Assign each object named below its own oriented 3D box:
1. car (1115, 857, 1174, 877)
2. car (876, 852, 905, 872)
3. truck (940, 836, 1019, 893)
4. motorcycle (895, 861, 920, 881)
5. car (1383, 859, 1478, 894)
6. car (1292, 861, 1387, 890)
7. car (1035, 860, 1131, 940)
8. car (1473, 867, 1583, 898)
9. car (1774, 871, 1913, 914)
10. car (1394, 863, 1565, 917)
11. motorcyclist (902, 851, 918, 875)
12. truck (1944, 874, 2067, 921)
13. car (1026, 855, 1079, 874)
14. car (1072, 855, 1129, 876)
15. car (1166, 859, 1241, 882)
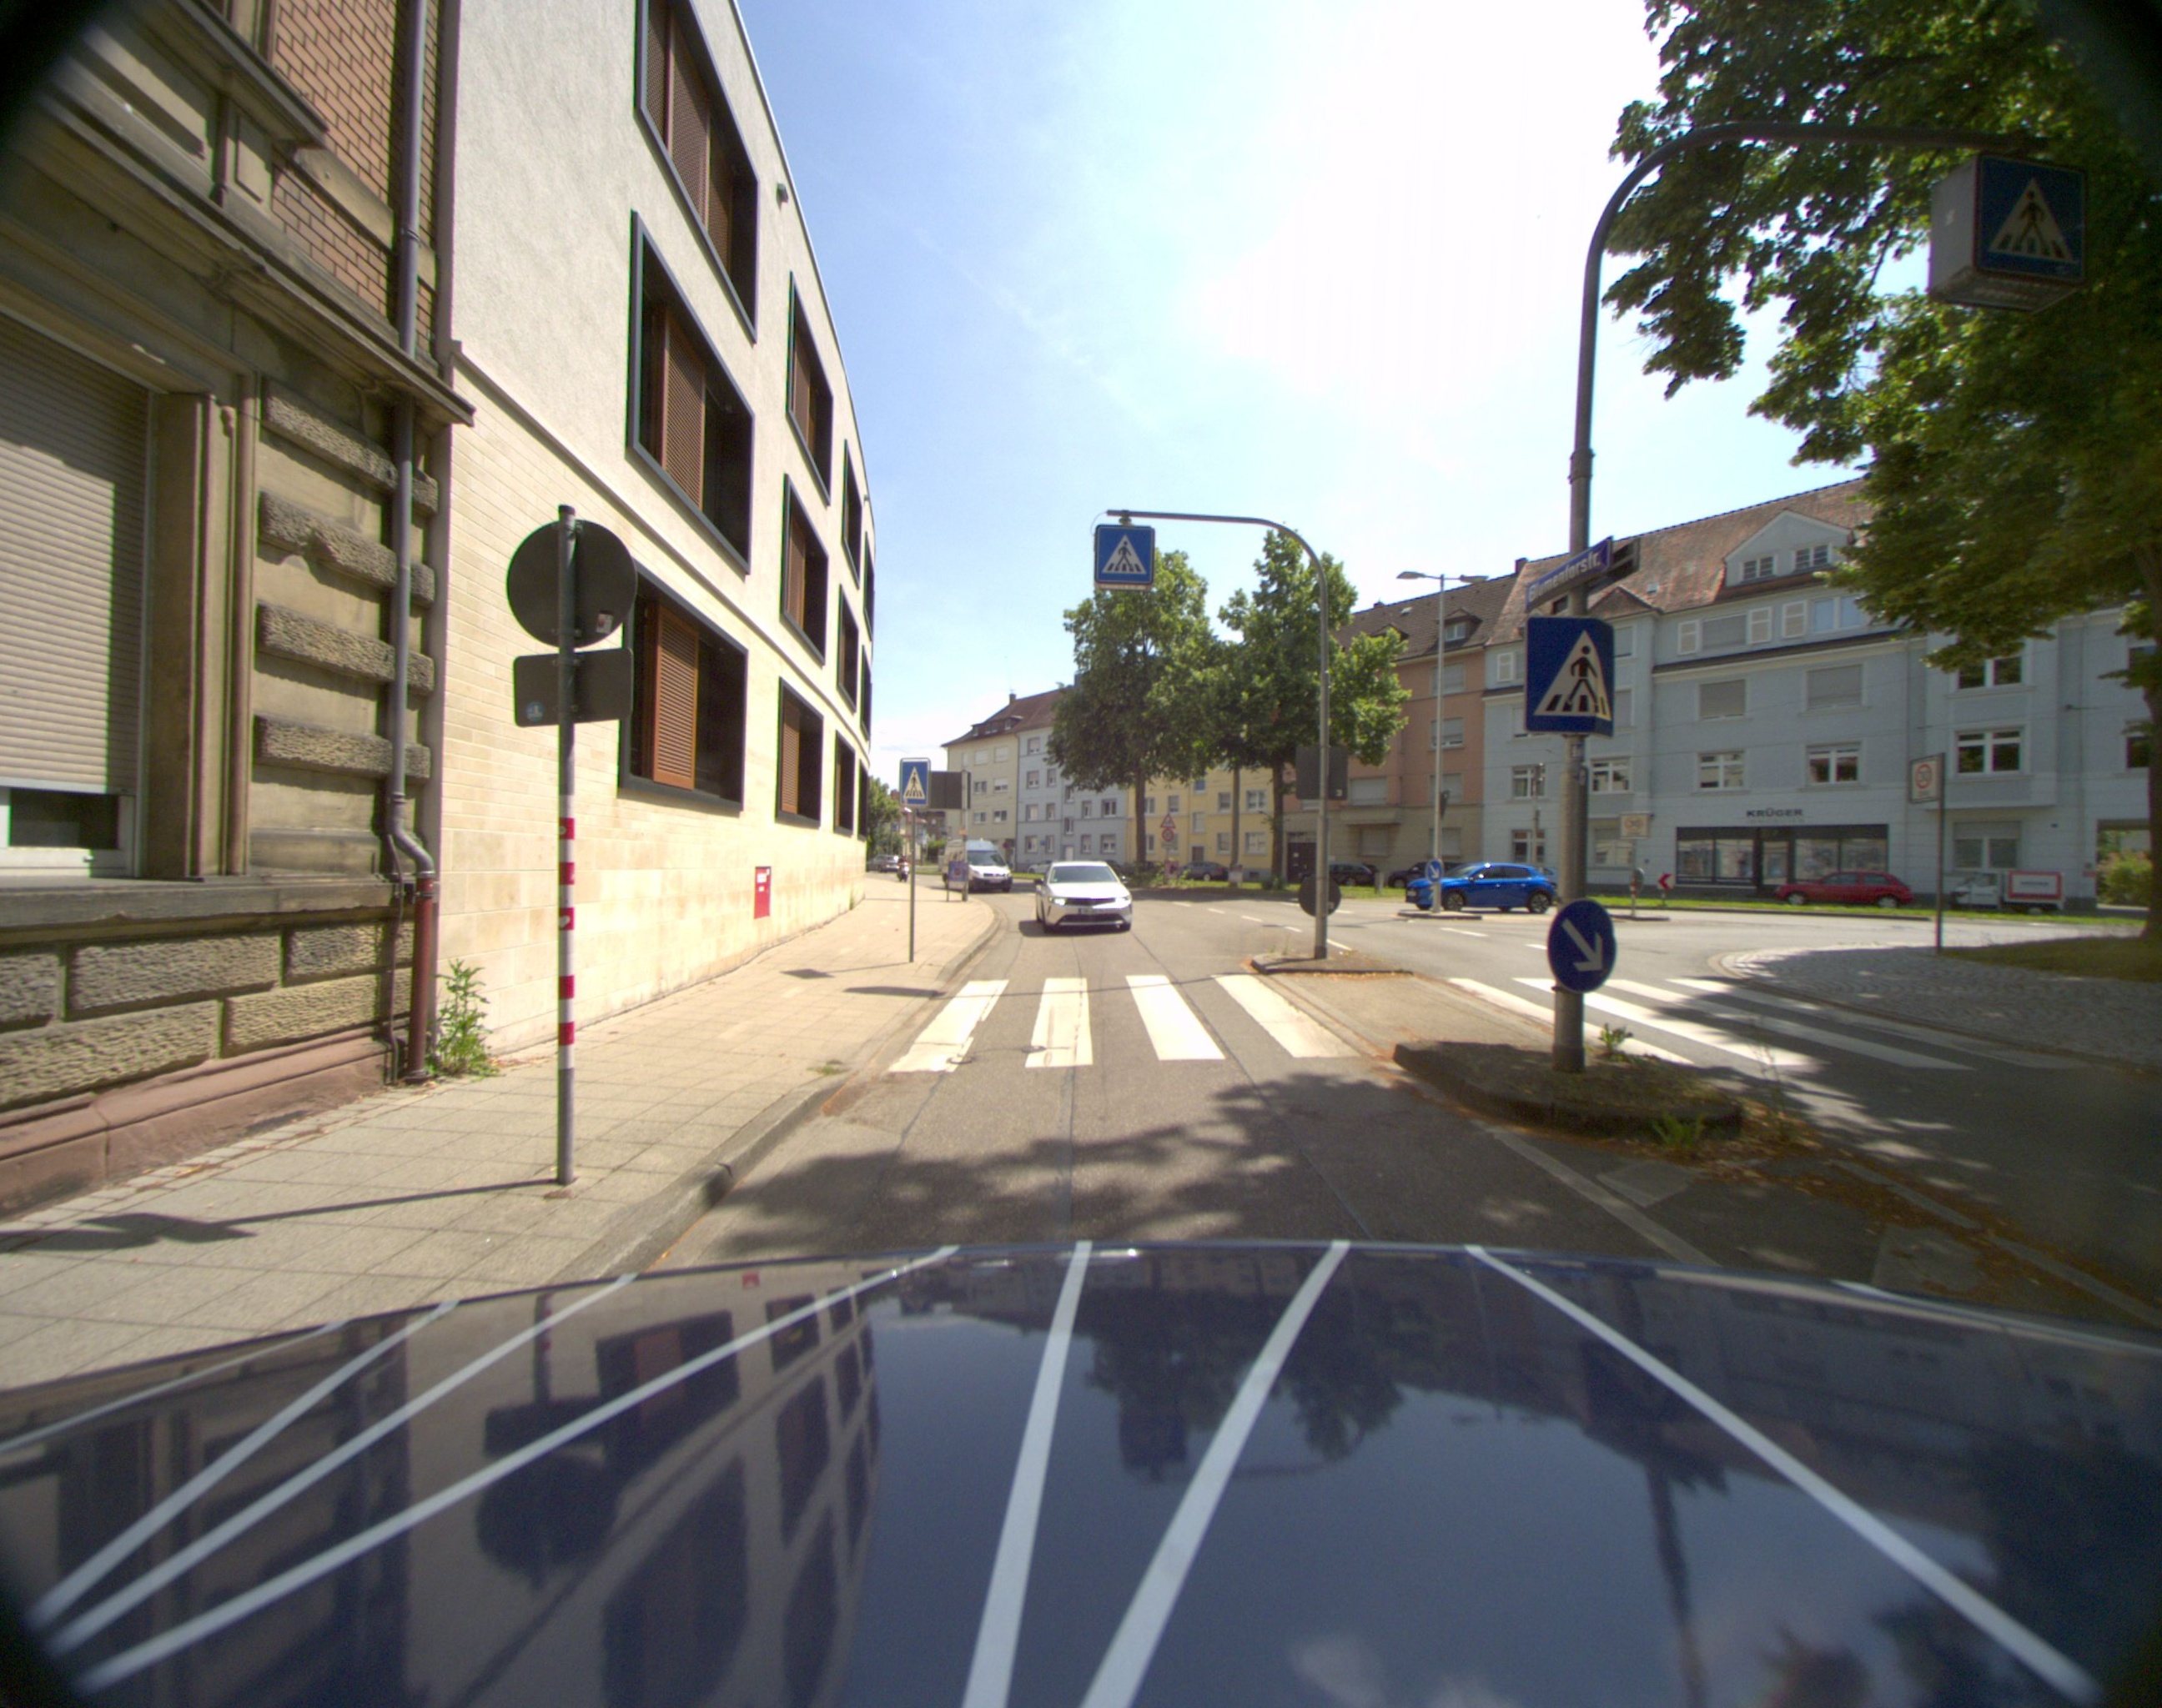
[{"bbox_3d":[4.644,0.940,55.667,1.841,1.391,4.130,3,-2,-42],"label":"car"},{"bbox_3d":[-14.745,0.582,58.892,1.743,1.479,4.404,0,0,-9],"label":"car"},{"bbox_3d":[-4.511,0.371,32.879,2.024,2.236,5.396,2,1,-22],"label":"truck"},{"bbox_3d":[-9.714,0.916,42.397,1.058,1.073,2.612,-1,0,-20],"label":"motorcycle"},{"bbox_3d":[18.485,1.165,40.321,1.847,1.675,4.130,3,-2,-42],"label":"car"},{"bbox_3d":[14.950,1.217,44.092,1.938,1.481,4.849,3,-2,-42],"label":"car"},{"bbox_3d":[-0.034,0.888,16.596,1.801,1.458,4.170,-1,0,-2],"label":"car"},{"bbox_3d":[21.644,1.375,36.882,1.817,1.348,4.238,3,-2,-42],"label":"car"},{"bbox_3d":[28.838,1.444,28.802,1.580,1.442,3.615,3,-2,-42],"label":"car"},{"bbox_3d":[11.382,1.008,21.891,3.998,1.483,1.815,0,-1,-3],"label":"car"},{"bbox_3d":[-9.545,0.513,42.426,0.736,1.329,1.169,-1,0,-20],"label":"motorcyclist"},{"bbox_3d":[31.663,1.463,26.104,1.132,1.485,2.587,3,-2,-43],"label":"truck"},{"bbox_3d":[-2.388,0.866,63.215,1.939,1.442,4.363,5,-3,-44],"label":"car"},{"bbox_3d":[1.463,0.895,59.514,1.938,1.496,4.313,3,-2,-44],"label":"car"},{"bbox_3d":[8.239,1.122,51.492,1.938,1.389,4.849,3,-2,-41],"label":"car"}]
